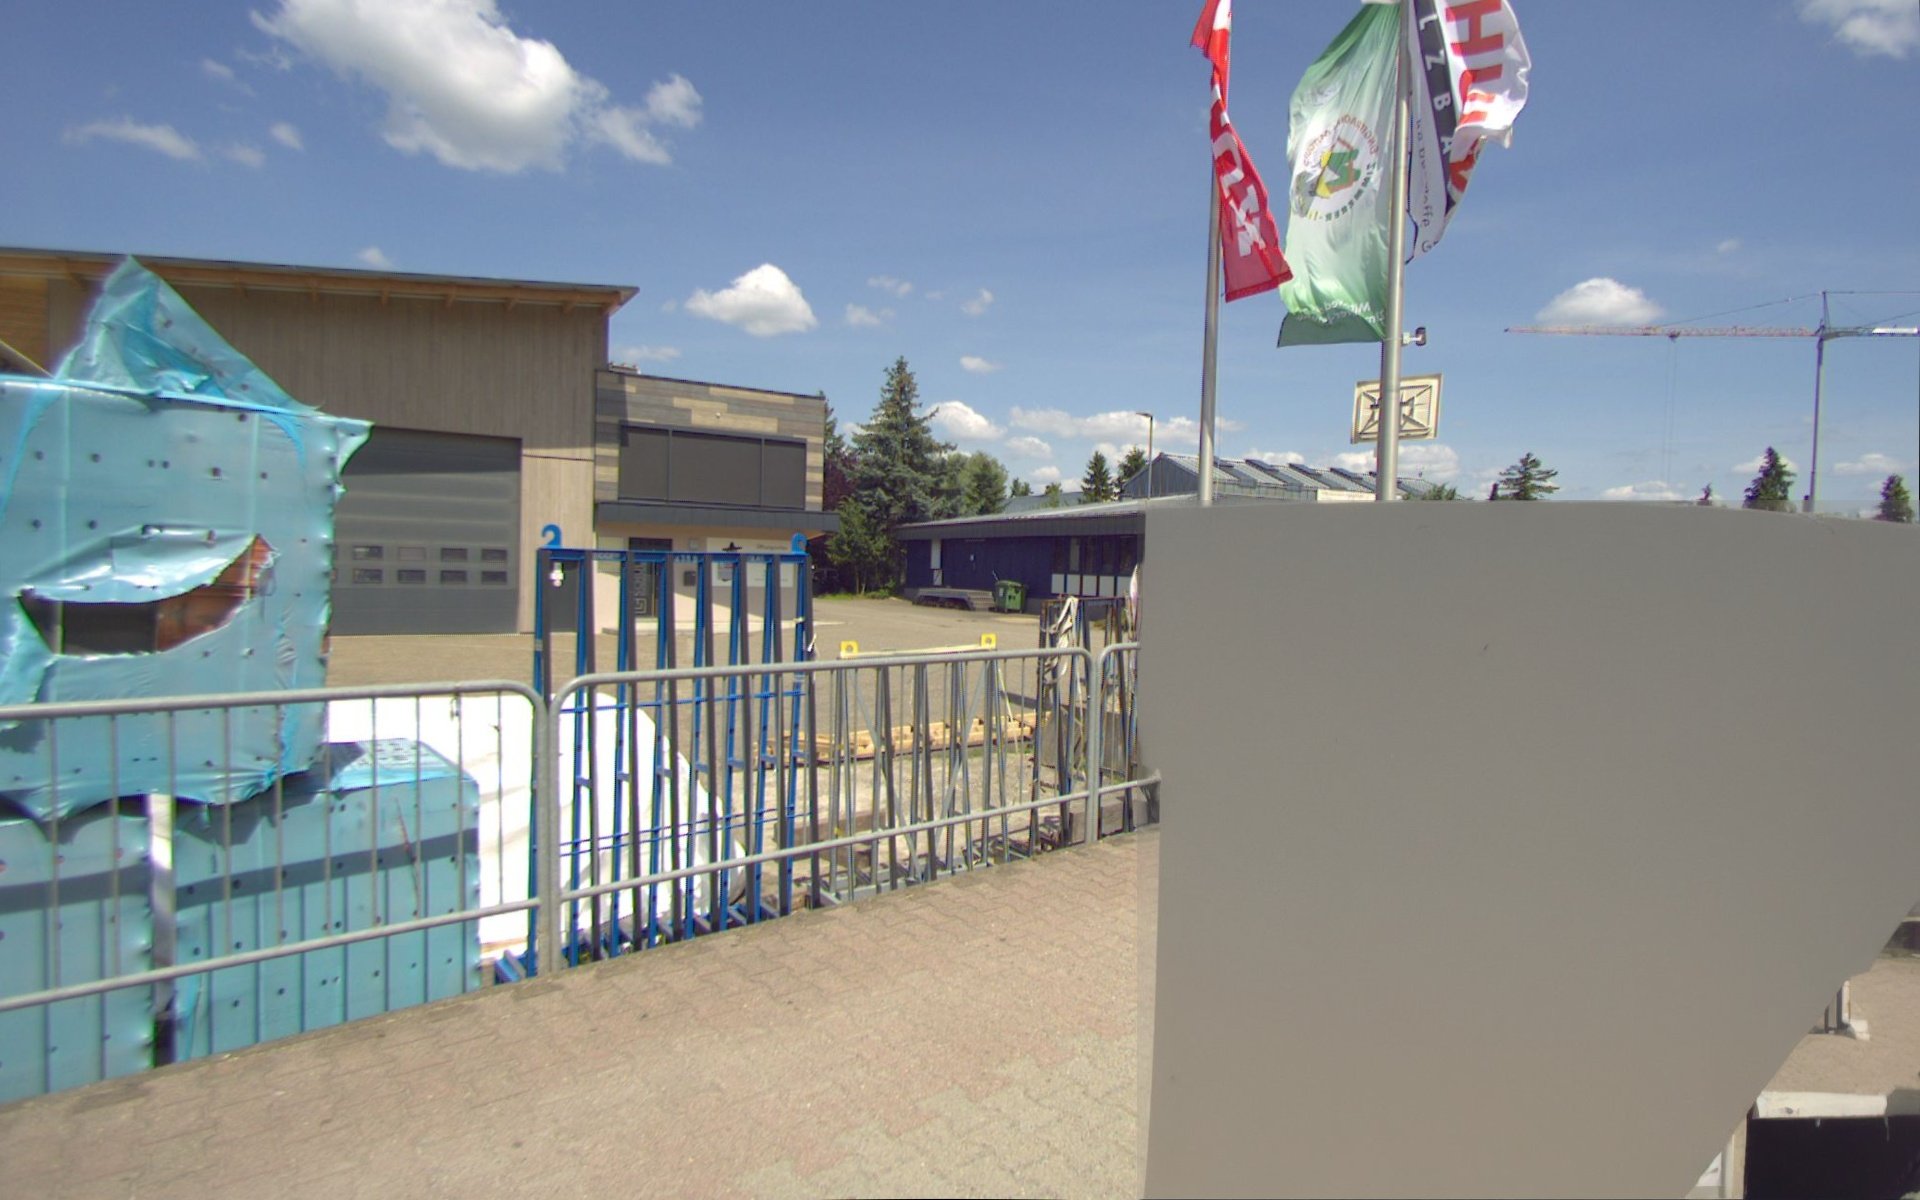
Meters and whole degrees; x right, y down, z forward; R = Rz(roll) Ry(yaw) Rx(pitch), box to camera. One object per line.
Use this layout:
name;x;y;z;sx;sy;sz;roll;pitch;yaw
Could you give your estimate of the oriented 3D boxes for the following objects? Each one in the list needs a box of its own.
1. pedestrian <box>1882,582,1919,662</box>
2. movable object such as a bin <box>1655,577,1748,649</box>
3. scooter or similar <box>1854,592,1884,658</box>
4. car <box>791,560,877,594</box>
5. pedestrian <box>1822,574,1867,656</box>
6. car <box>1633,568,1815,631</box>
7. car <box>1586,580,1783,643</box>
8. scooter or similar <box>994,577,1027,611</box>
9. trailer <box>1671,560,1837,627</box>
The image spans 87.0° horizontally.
pedestrian;17.720;0.402;18.933;0.574;1.422;0.595;-3;4;-42
movable object such as a bin;15.719;0.265;21.502;1.247;1.476;1.046;0;0;11
scooter or similar;17.239;0.466;19.201;0.391;1.212;0.334;-2;4;-41
car;-6.992;-1.341;56.347;4.536;1.692;1.760;-3;6;-41
pedestrian;17.301;0.279;19.798;0.502;1.558;0.536;-1;4;-42
car;23.433;-0.076;31.156;1.771;1.653;4.219;-3;5;-42
car;18.785;0.246;26.349;1.785;1.473;3.853;0;1;-40
scooter or similar;2.104;-0.268;42.094;0.907;1.337;1.116;-2;4;-31
trailer;26.027;-0.209;33.247;1.965;2.039;3.993;2;-1;-41
